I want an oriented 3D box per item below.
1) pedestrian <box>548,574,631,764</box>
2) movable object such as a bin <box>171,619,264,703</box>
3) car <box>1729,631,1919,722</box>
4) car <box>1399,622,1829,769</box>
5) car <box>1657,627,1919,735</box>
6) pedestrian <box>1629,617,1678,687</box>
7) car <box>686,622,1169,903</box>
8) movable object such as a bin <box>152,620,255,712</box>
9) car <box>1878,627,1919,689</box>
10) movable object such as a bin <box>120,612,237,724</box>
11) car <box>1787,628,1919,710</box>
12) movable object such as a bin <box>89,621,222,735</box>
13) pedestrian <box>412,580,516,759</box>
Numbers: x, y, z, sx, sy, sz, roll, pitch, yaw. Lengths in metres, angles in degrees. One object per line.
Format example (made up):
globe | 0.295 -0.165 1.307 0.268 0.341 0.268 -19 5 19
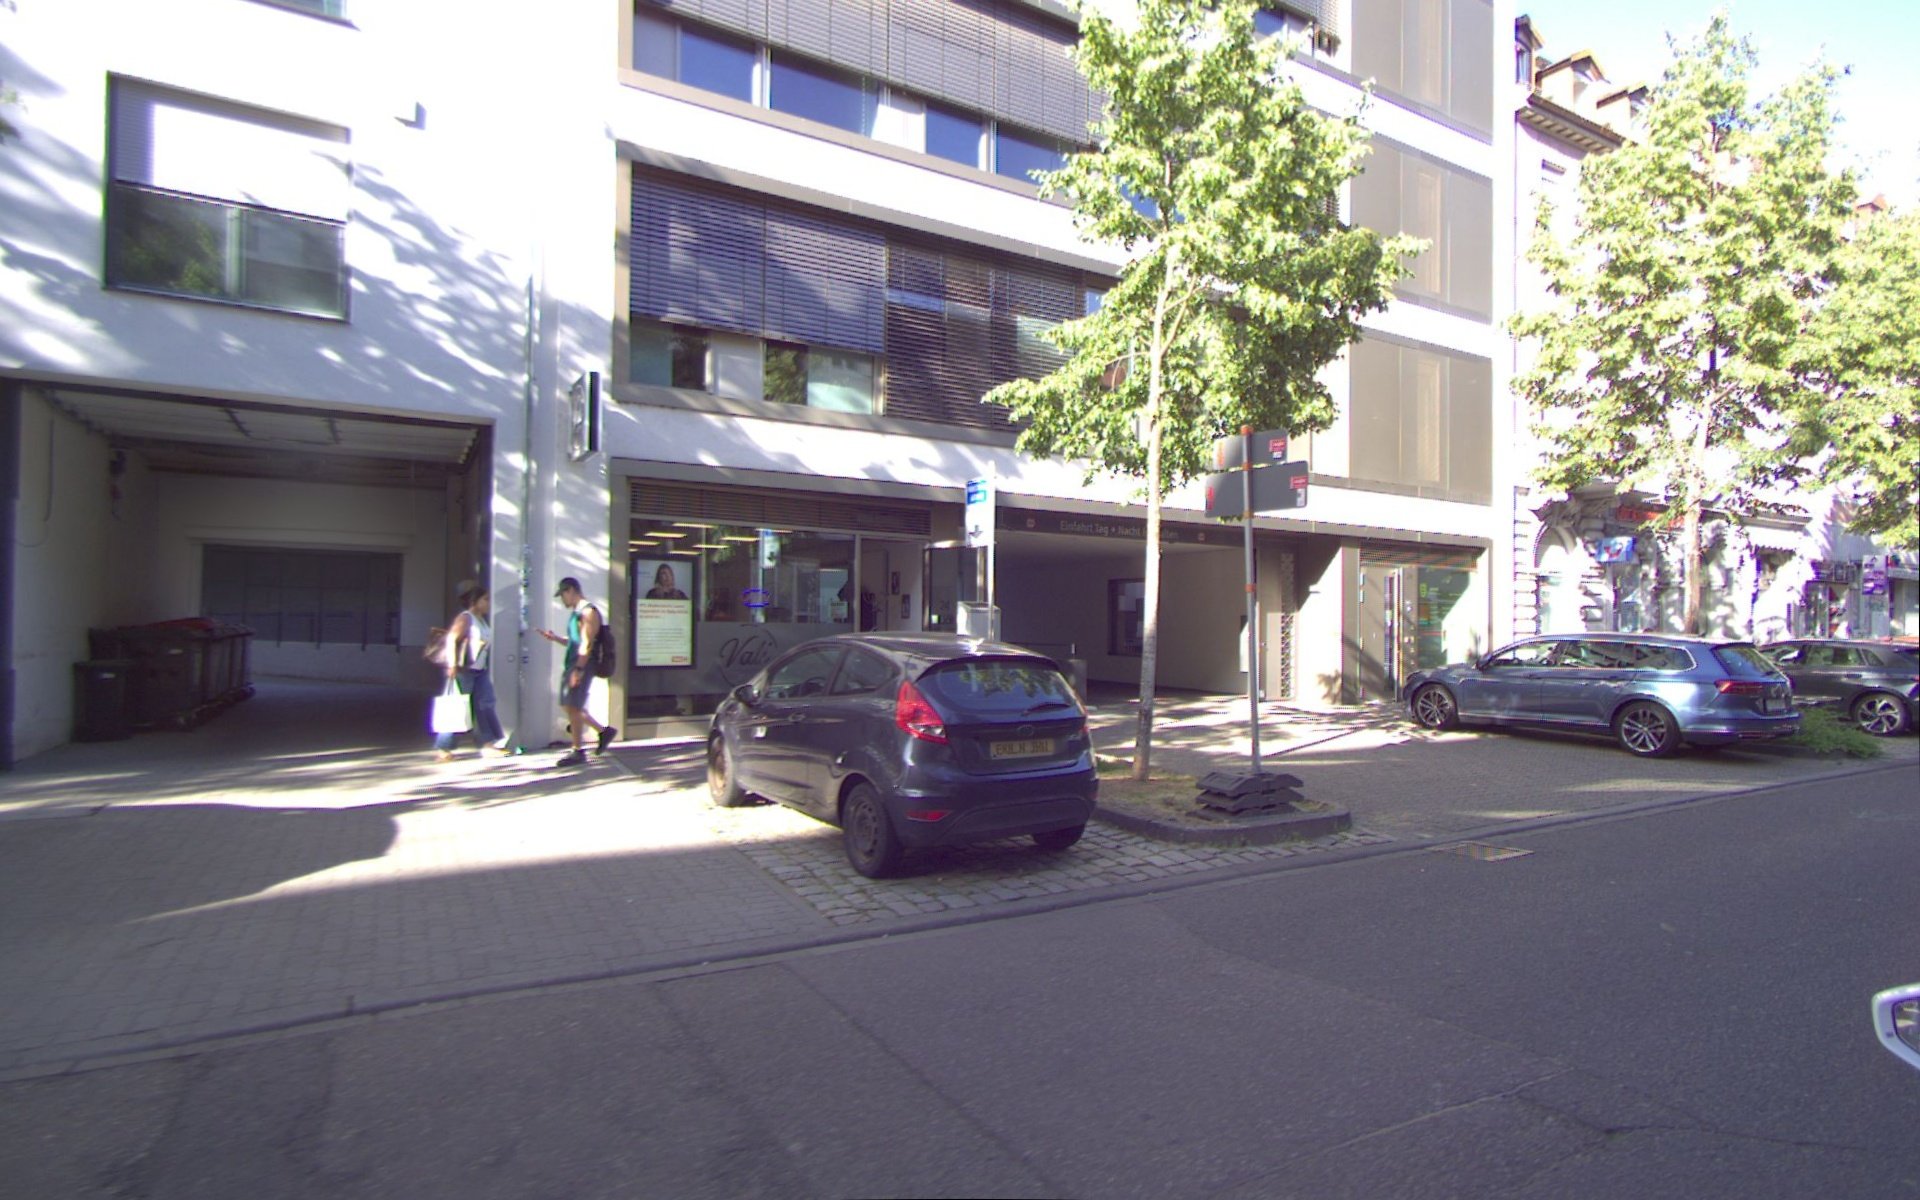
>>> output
pedestrian | -3.704 0.676 10.104 0.733 1.821 0.699 1 -1 -19
movable object such as a bin | -12.667 1.009 17.187 1.092 1.325 1.542 1 0 -30
car | 16.288 1.314 17.830 1.767 1.448 3.825 1 -1 -28
car | 8.373 1.105 13.342 1.770 1.478 4.470 1 0 -31
car | 13.958 1.239 16.395 1.749 1.505 3.903 1 -1 -28
pedestrian | 14.483 1.082 20.988 0.814 1.427 0.506 1 0 -26
car | -0.473 0.925 7.451 1.764 1.478 3.753 1 -1 -37
movable object such as a bin | -11.798 0.988 15.734 1.092 1.325 1.542 1 0 -30
car | 24.354 1.400 23.319 1.717 1.488 4.187 1 -1 -27
movable object such as a bin | -11.010 0.917 14.218 1.092 1.460 1.542 1 0 -30
car | 18.414 1.308 19.160 1.719 1.488 3.730 1 -1 -30
movable object such as a bin | -10.267 0.943 12.900 1.092 1.325 1.542 1 0 -30
pedestrian | -5.030 0.697 10.229 0.731 1.758 0.647 0 -1 -3
